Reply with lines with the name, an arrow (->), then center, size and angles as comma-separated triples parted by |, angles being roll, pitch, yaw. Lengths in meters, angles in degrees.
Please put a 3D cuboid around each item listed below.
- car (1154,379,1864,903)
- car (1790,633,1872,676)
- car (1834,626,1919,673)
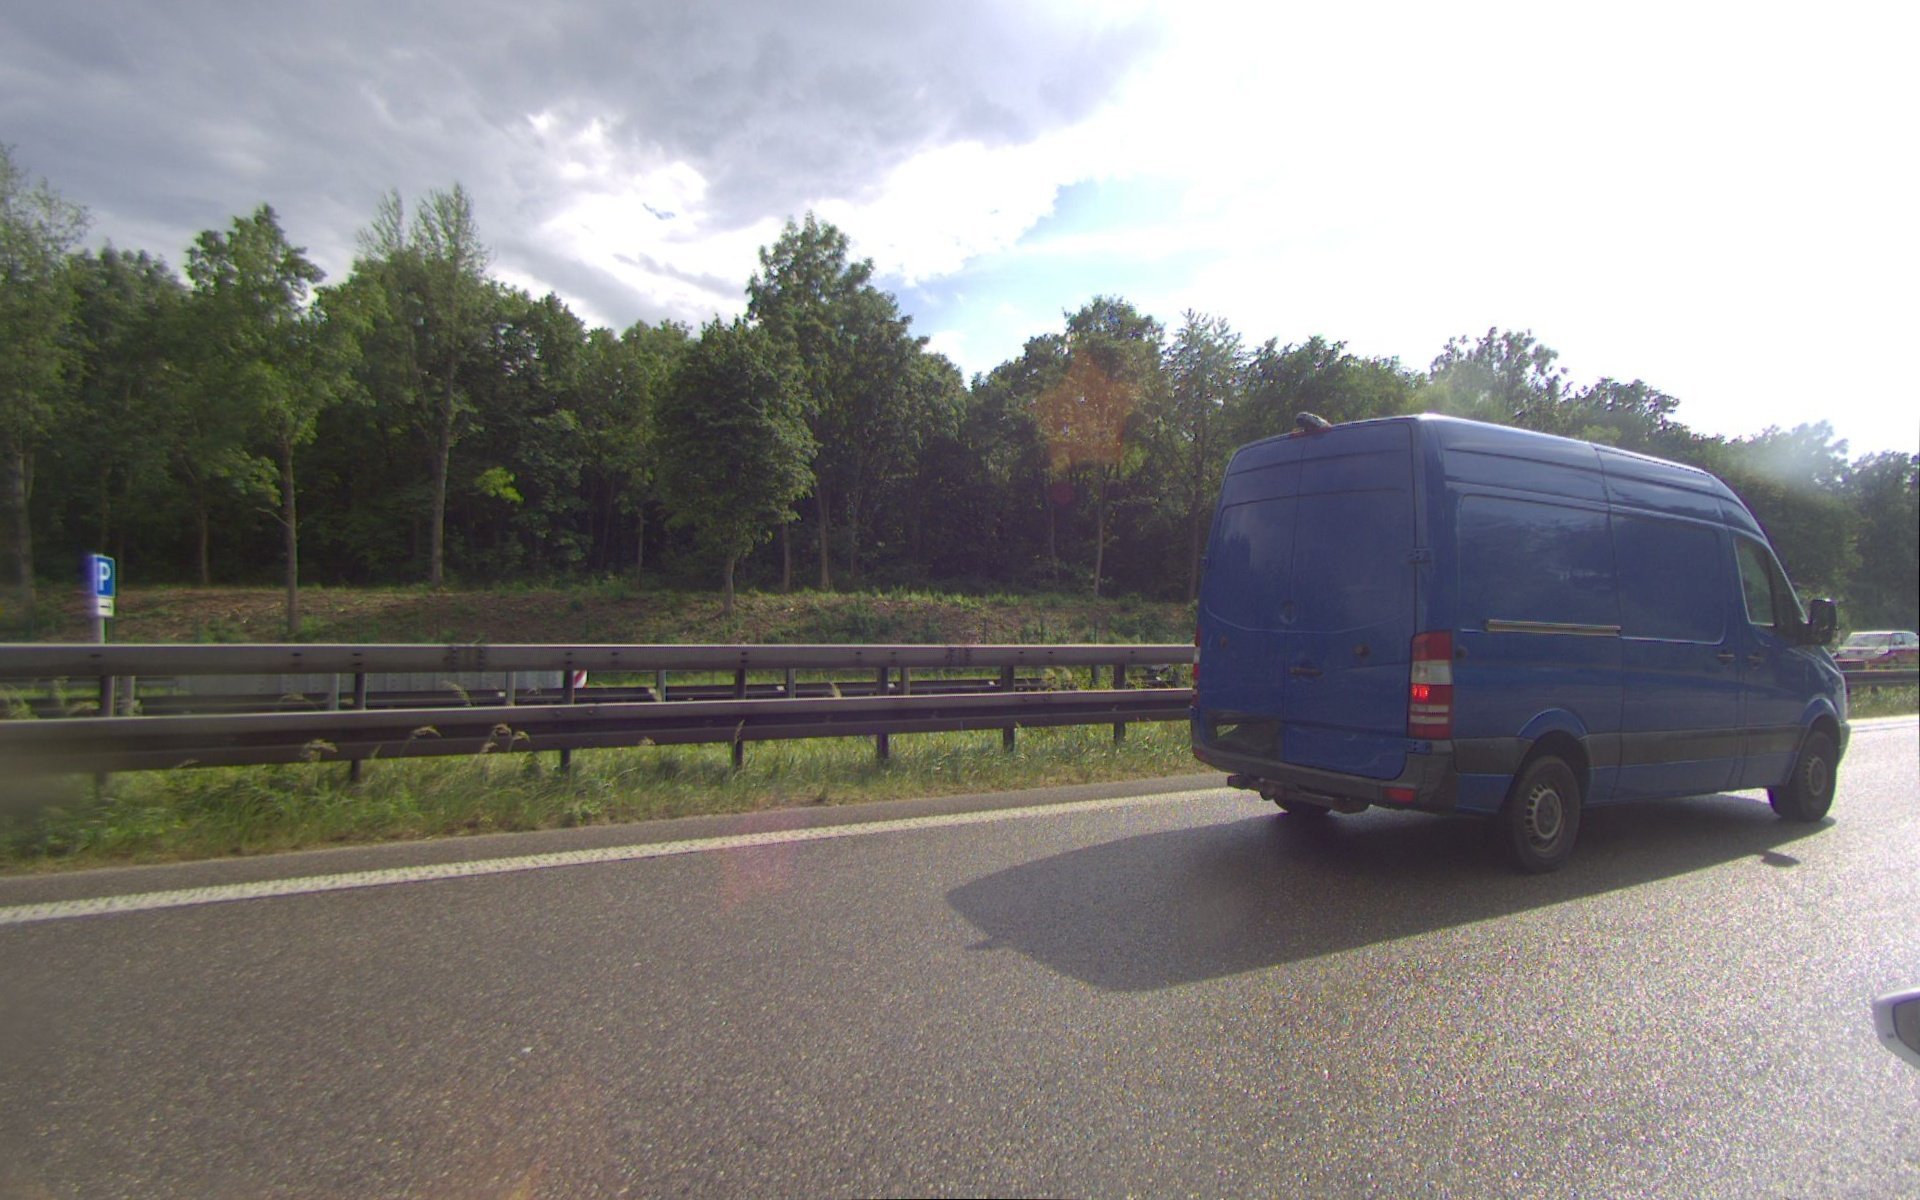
car -> 4.302, 0.274, 7.476 | 5.710, 2.684, 2.005 | 2, 0, -31
car -> 44.002, 2.735, 50.742 | 3.953, 2.040, 1.984 | 1, -1, -30
car -> 40.298, 2.149, 43.887 | 4.238, 1.936, 1.915 | 1, -1, -30
